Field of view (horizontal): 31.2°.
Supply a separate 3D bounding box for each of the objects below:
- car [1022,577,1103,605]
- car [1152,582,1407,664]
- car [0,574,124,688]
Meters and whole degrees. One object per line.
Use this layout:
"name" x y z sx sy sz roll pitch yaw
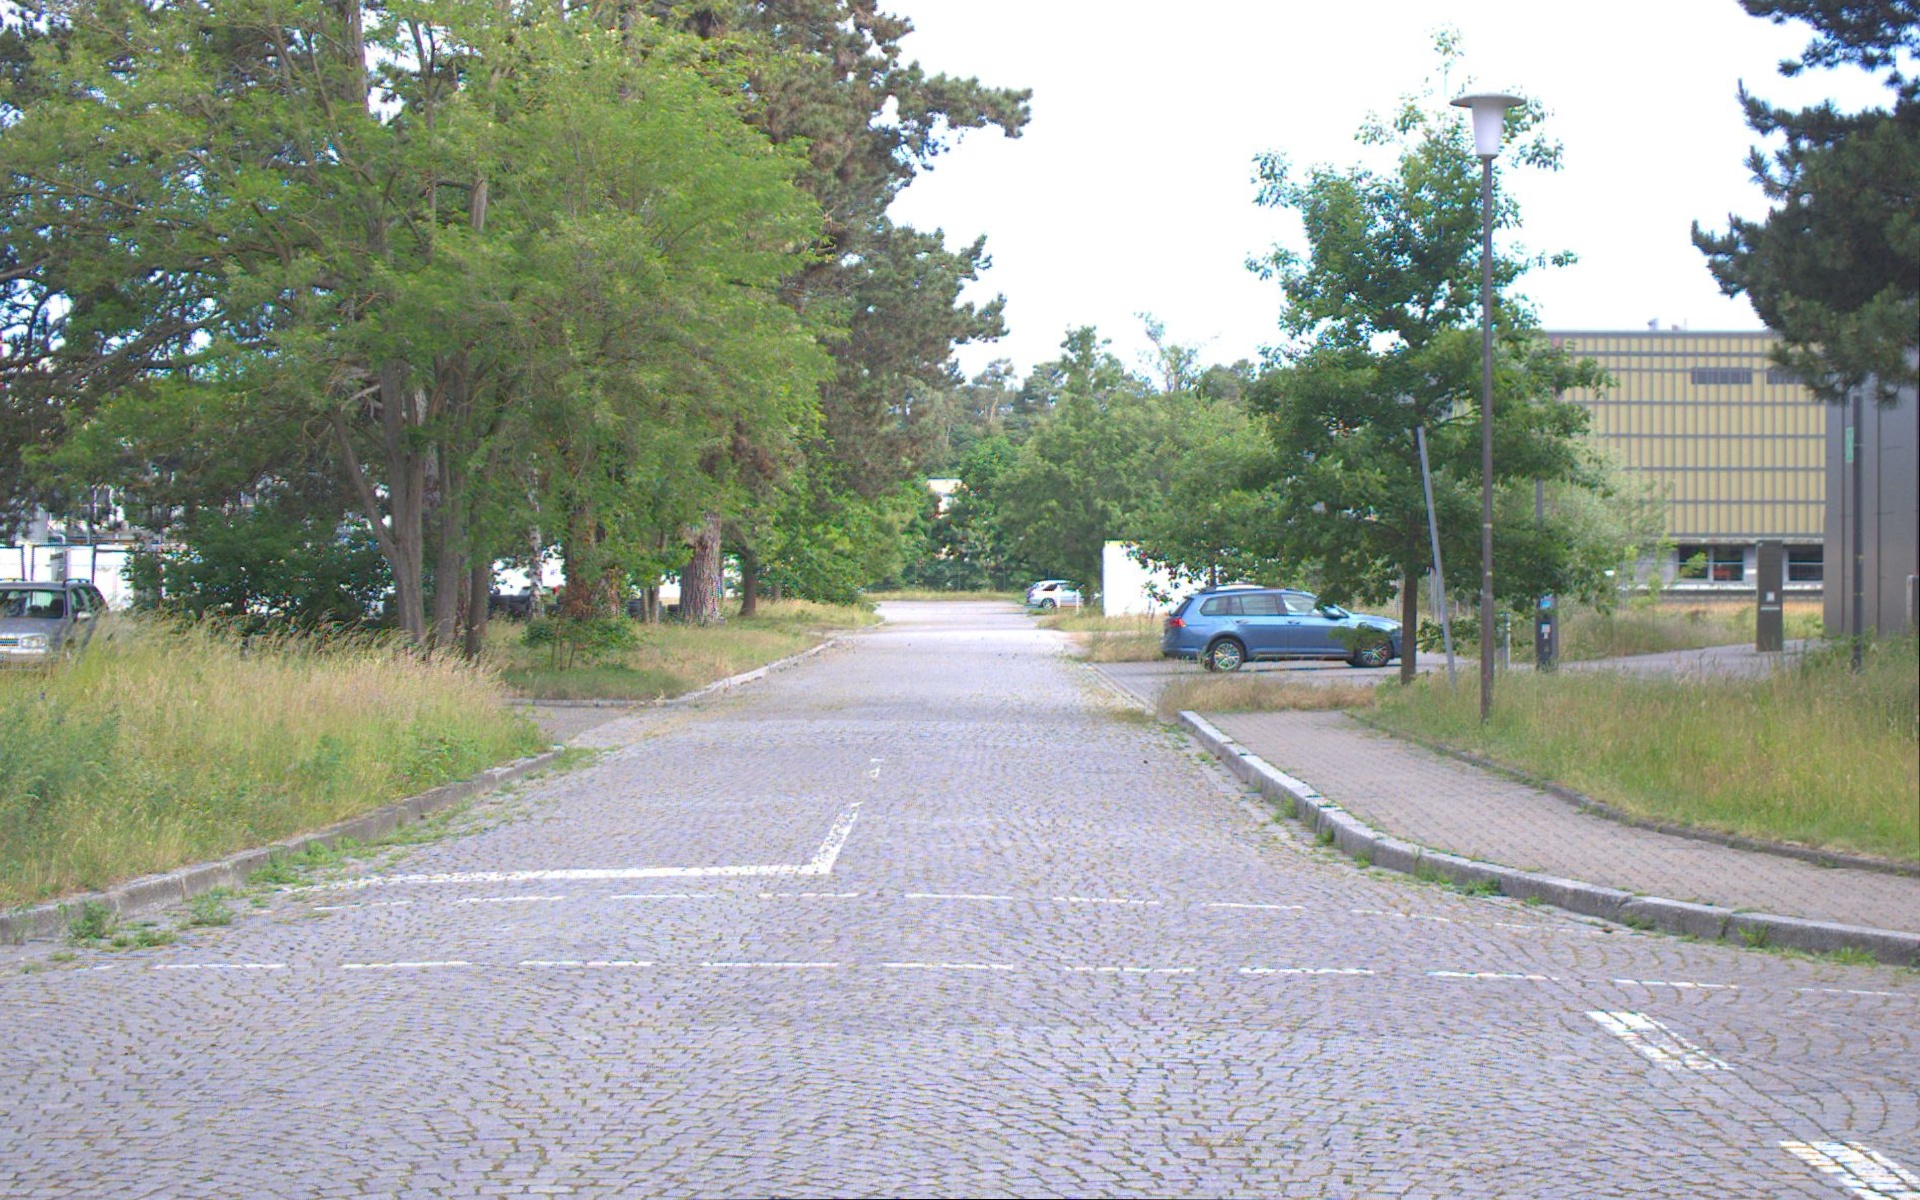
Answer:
"car" 5.326 -0.470 178.971 3.986 1.393 2.000 0 1 -5
"car" 5.717 0.404 61.882 4.344 1.417 2.000 0 1 -1
"car" -12.812 0.392 47.322 1.613 1.482 4.000 1 0 0
